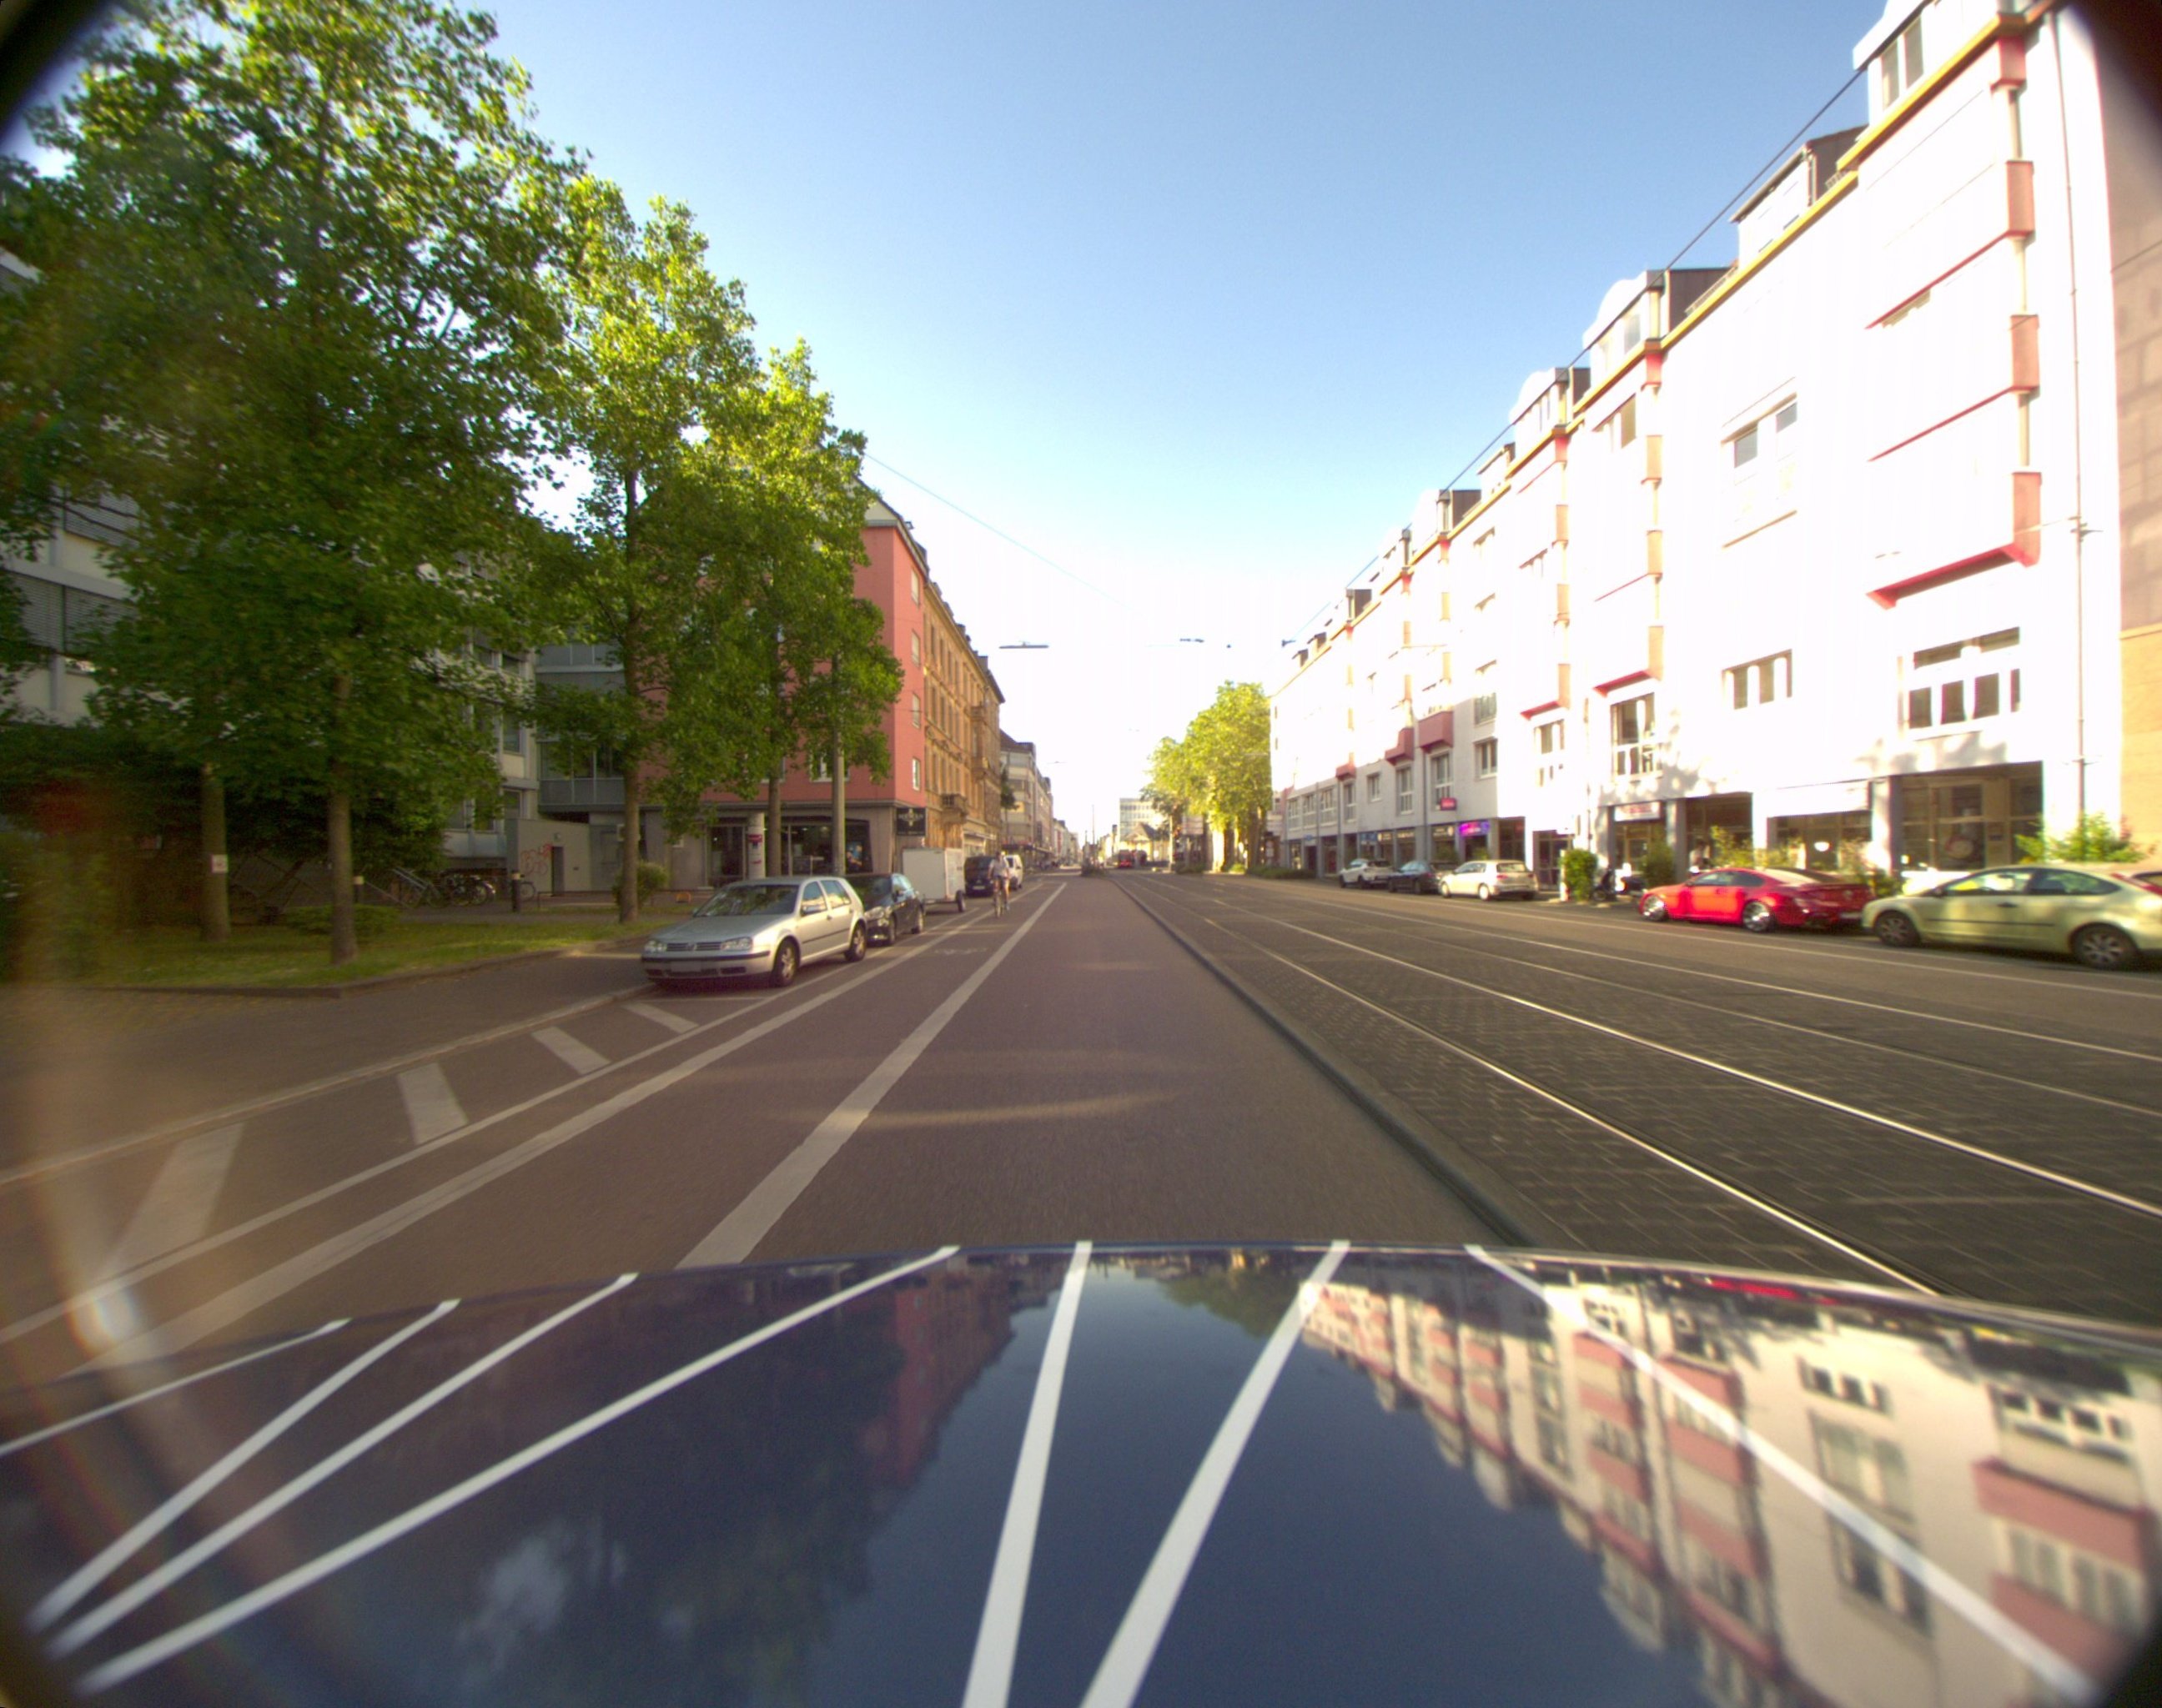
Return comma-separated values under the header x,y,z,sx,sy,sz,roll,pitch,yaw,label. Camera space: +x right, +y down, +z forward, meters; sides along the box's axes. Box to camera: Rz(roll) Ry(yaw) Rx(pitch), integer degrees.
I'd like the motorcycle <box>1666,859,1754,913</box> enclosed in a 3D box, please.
x,y,z,sx,sy,sz,roll,pitch,yaw,label
16.397,0.805,19.887,0.520,1.290,2.082,-3,0,0,motorcycle

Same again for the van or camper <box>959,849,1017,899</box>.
x,y,z,sx,sy,sz,roll,pitch,yaw,label
-4.208,0.823,35.137,1.976,2.034,5.330,-3,1,-1,van or camper

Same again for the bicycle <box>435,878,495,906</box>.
x,y,z,sx,sy,sz,roll,pitch,yaw,label
-19.723,1.206,24.344,1.587,0.871,0.449,1,1,2,bicycle

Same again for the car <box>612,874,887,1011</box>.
x,y,z,sx,sy,sz,roll,pitch,yaw,label
-4.483,1.106,11.127,1.753,1.434,4.316,-2,0,6,car

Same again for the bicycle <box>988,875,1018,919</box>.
x,y,z,sx,sy,sz,roll,pitch,yaw,label
-2.229,1.217,21.938,0.649,1.132,2.095,-1,1,-1,bicycle

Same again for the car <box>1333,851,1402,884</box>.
x,y,z,sx,sy,sz,roll,pitch,yaw,label
15.197,0.656,40.557,1.922,1.604,4.368,-1,0,-2,car

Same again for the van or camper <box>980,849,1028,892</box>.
x,y,z,sx,sy,sz,roll,pitch,yaw,label
-4.068,0.811,41.152,1.936,2.025,5.474,-3,1,0,van or camper

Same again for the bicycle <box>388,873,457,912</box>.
x,y,z,sx,sy,sz,roll,pitch,yaw,label
-19.597,1.142,22.632,1.588,1.108,0.449,1,1,-5,bicycle

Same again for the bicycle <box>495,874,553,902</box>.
x,y,z,sx,sy,sz,roll,pitch,yaw,label
-19.606,1.196,26.766,1.588,0.957,0.449,1,1,-10,bicycle

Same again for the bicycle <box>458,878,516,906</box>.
x,y,z,sx,sy,sz,roll,pitch,yaw,label
-19.374,1.243,24.785,1.587,0.871,0.449,1,1,2,bicycle

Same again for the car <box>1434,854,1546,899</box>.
x,y,z,sx,sy,sz,roll,pitch,yaw,label
14.966,0.761,28.069,1.756,1.466,4.206,-1,0,-2,car

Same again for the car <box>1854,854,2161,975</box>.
x,y,z,sx,sy,sz,roll,pitch,yaw,label
14.743,0.781,11.512,1.673,1.460,4.290,-3,0,1,car

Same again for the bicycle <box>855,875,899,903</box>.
x,y,z,sx,sy,sz,roll,pitch,yaw,label
-8.813,1.493,32.843,0.426,1.126,1.885,0,1,42,bicycle

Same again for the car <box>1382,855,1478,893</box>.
x,y,z,sx,sy,sz,roll,pitch,yaw,label
14.981,0.790,32.943,1.906,1.449,4.825,-1,0,0,car

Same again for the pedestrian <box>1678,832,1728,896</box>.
x,y,z,sx,sy,sz,roll,pitch,yaw,label
18.476,0.293,22.574,0.822,1.832,0.717,-3,0,-9,pedestrian

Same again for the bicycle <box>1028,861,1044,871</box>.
x,y,z,sx,sy,sz,roll,pitch,yaw,label
-5.632,1.491,94.231,1.950,1.100,0.564,-1,1,-1,bicycle

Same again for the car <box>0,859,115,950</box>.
x,y,z,sx,sy,sz,roll,pitch,yaw,label
-18.553,0.865,11.948,1.795,1.455,3.997,-1,1,-6,car

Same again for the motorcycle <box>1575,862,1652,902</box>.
x,y,z,sx,sy,sz,roll,pitch,yaw,label
16.476,0.843,23.570,0.462,1.187,2.079,-3,0,-17,motorcycle

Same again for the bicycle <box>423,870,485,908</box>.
x,y,z,sx,sy,sz,roll,pitch,yaw,label
-19.536,1.088,23.673,1.587,1.119,0.449,1,1,2,bicycle

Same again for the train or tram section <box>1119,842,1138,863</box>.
x,y,z,sx,sy,sz,roll,pitch,yaw,label
8.748,-0.162,142.115,2.981,3.623,16.488,-3,0,2,train or tram section

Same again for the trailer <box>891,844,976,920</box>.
x,y,z,sx,sy,sz,roll,pitch,yaw,label
-4.497,0.771,23.743,1.665,2.104,3.842,-3,1,2,trailer

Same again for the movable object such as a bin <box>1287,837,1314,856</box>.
x,y,z,sx,sy,sz,roll,pitch,yaw,label
24.173,-0.786,83.762,2.644,2.002,1.177,-1,1,24,movable object such as a bin

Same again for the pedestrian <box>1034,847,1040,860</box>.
x,y,z,sx,sy,sz,roll,pitch,yaw,label
-6.105,-0.075,104.914,0.746,1.717,0.814,-3,1,1,pedestrian

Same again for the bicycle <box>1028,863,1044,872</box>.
x,y,z,sx,sy,sz,roll,pitch,yaw,label
-5.653,1.687,94.882,1.950,1.100,0.564,-1,1,-1,bicycle

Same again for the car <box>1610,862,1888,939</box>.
x,y,z,sx,sy,sz,roll,pitch,yaw,label
14.618,0.934,17.122,1.965,1.317,4.820,-3,0,0,car

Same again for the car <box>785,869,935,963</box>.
x,y,z,sx,sy,sz,roll,pitch,yaw,label
-4.371,1.151,15.759,1.807,1.427,4.322,-4,1,-1,car

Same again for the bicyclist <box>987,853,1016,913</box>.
x,y,z,sx,sy,sz,roll,pitch,yaw,label
-2.274,0.811,21.831,0.656,1.646,0.927,-2,1,0,bicyclist
